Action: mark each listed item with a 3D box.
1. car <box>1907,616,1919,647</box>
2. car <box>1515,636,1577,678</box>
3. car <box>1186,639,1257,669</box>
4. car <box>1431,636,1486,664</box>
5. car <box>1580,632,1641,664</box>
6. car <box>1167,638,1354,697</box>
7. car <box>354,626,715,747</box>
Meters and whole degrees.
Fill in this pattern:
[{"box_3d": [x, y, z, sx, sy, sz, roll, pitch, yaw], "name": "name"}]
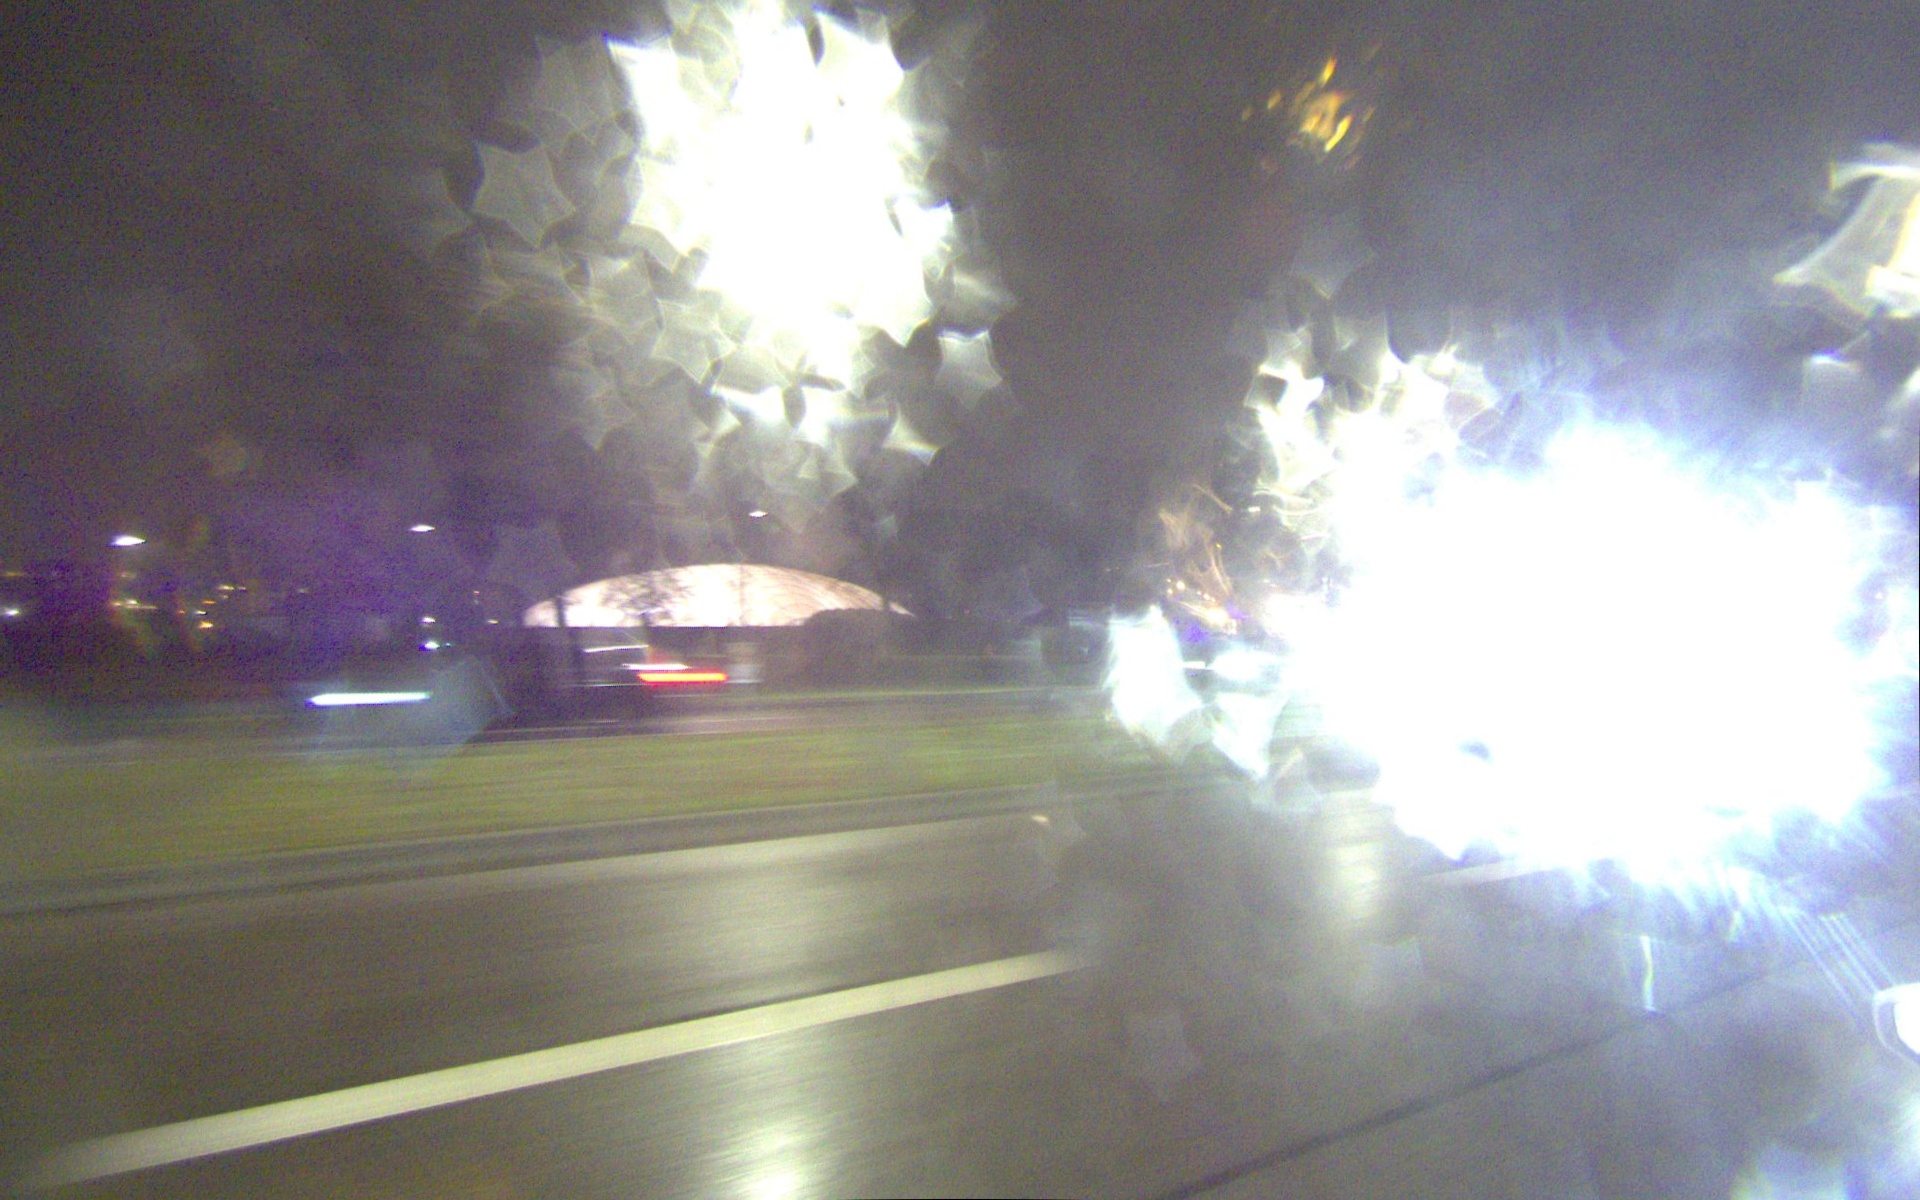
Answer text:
[{"box_3d": [69.078, 2.173, 68.526, 6.211, 2.117, 2.507, 0, -1, 36], "name": "car"}, {"box_3d": [27.100, 2.563, 46.372, 2.036, 1.738, 5.024, 0, -1, 35], "name": "car"}, {"box_3d": [15.177, 3.138, 58.378, 3.919, 1.595, 1.761, 0, -1, 14], "name": "car"}, {"box_3d": [30.368, 3.005, 61.153, 1.970, 1.561, 4.395, 0, -1, 40], "name": "car"}, {"box_3d": [38.695, 2.809, 59.728, 2.035, 1.755, 5.099, 0, -1, 45], "name": "car"}, {"box_3d": [8.331, 1.788, 27.667, 5.291, 1.421, 1.983, 1, -1, -32], "name": "car"}, {"box_3d": [-6.089, 1.144, 14.566, 4.608, 1.483, 1.819, 1, -1, -32], "name": "car"}]
